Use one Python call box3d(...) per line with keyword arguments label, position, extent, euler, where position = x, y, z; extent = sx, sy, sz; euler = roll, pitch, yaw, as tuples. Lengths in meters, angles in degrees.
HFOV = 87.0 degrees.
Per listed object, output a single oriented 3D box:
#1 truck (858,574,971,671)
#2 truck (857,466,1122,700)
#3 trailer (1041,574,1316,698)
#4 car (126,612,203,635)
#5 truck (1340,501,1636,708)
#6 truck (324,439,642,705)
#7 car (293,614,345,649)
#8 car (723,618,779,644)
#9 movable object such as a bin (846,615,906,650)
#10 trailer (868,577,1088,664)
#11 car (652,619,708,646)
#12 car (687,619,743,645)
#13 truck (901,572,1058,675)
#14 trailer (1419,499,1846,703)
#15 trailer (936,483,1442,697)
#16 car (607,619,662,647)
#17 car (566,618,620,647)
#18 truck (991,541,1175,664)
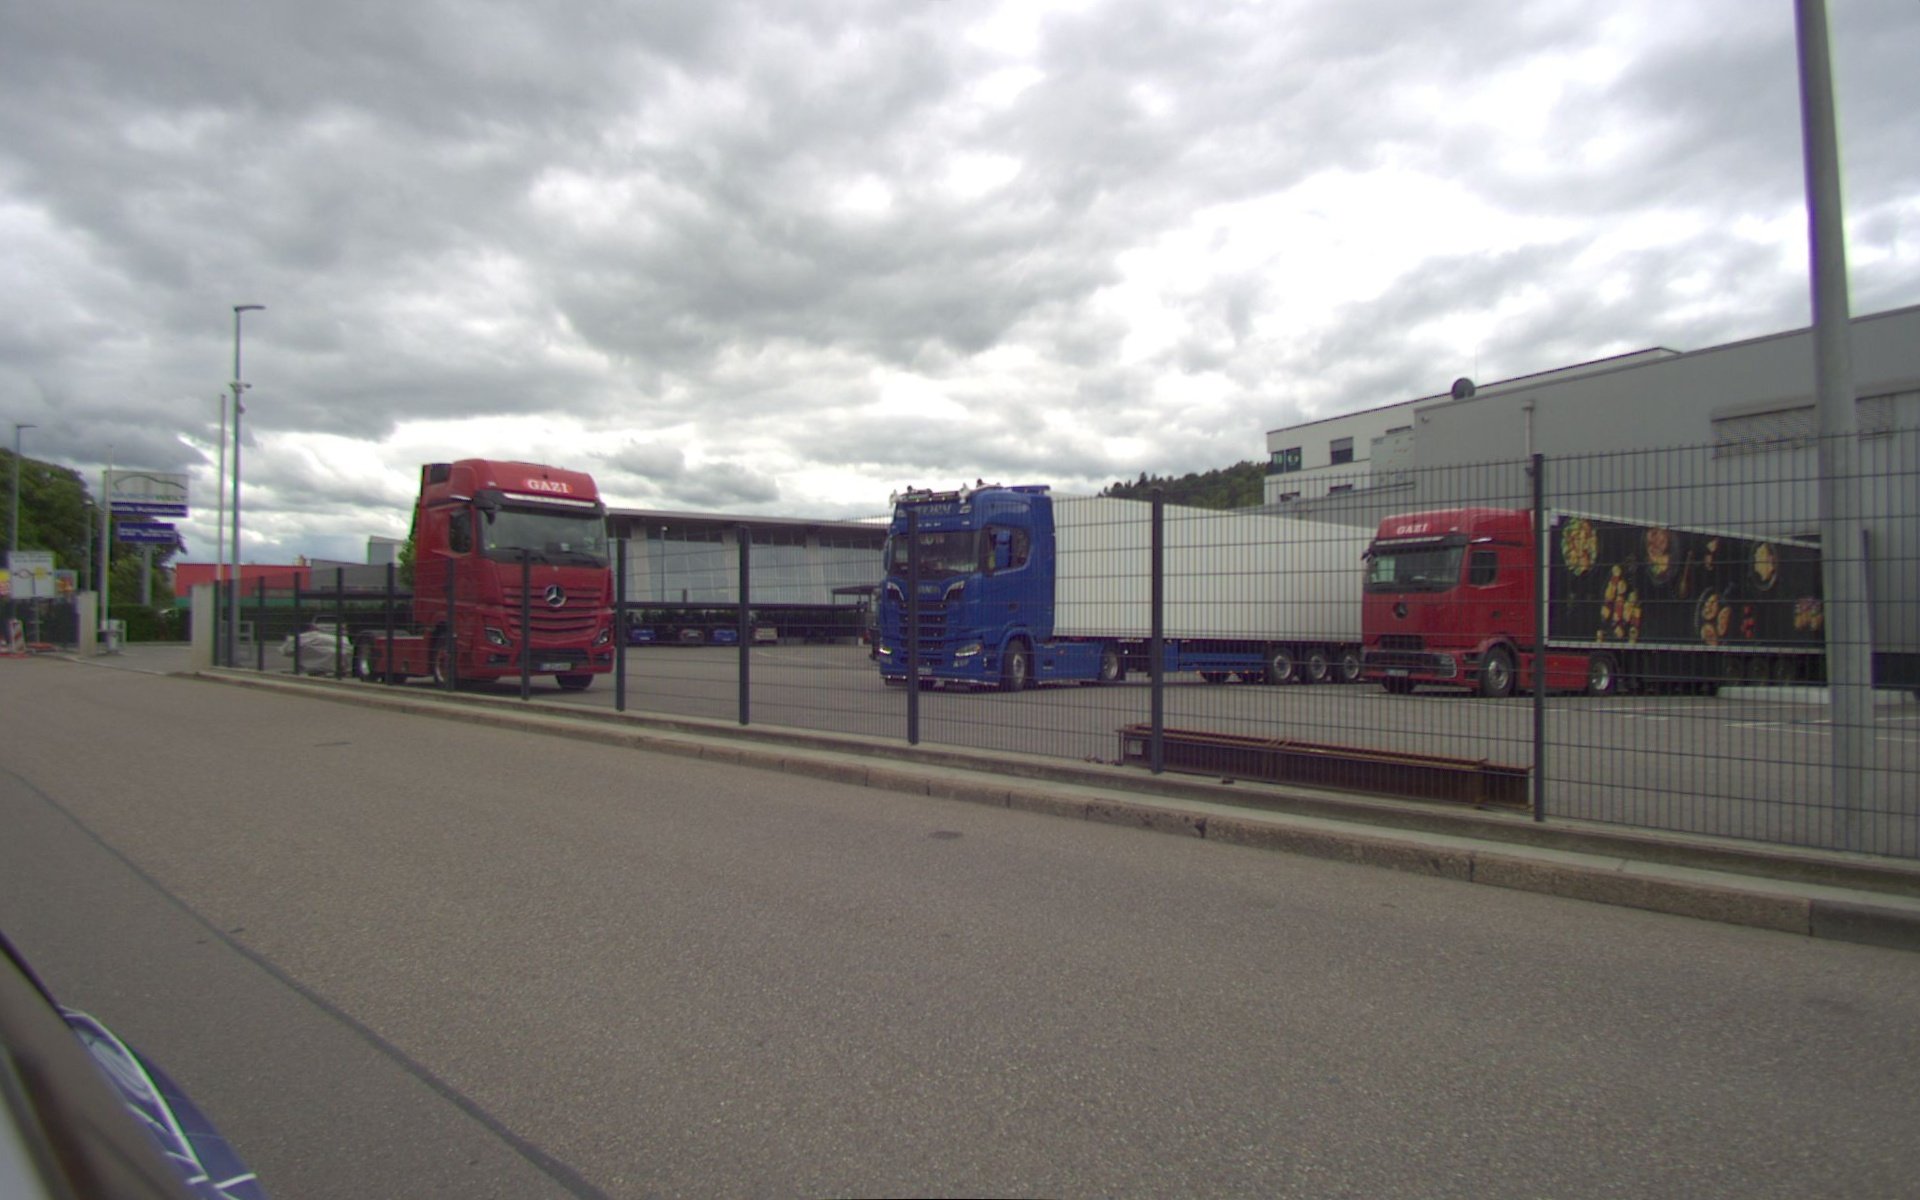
box3d(label="truck", position=(-2.016, 0.997, 44.423), extent=(4.093, 4.071, 2.811), euler=(1, -1, -29))
box3d(label="truck", position=(0.800, -0.233, 20.674), extent=(2.924, 4.051, 5.550), euler=(-1, -2, 34))
box3d(label="trailer", position=(8.273, 1.311, 37.415), extent=(10.807, 4.109, 2.801), euler=(1, -1, -29))
box3d(label="car", position=(-54.969, 1.620, 69.999), extent=(2.001, 1.547, 3.942), euler=(-1, -2, 44))
box3d(label="truck", position=(11.447, 0.150, 21.934), extent=(5.823, 3.958, 2.811), euler=(1, -2, -28))
box3d(label="truck", position=(-9.075, -0.368, 18.845), extent=(6.940, 4.051, 2.890), euler=(-1, -2, 42))
box3d(label="car", position=(-32.517, 1.566, 51.277), extent=(2.039, 1.682, 4.258), euler=(1, -2, -35))
box3d(label="car", position=(-13.232, 1.926, 63.790), extent=(1.935, 1.571, 4.258), euler=(1, -2, -35))
box3d(label="movable object such as a bin", position=(-5.720, 2.169, 68.307), extent=(2.046, 2.243, 4.612), euler=(1, -2, -35))
box3d(label="trailer", position=(1.077, 1.092, 51.978), extent=(11.213, 4.109, 3.101), euler=(1, -1, -29))
box3d(label="car", position=(-16.735, 1.916, 60.356), extent=(1.935, 1.571, 4.258), euler=(1, -2, -35))
box3d(label="car", position=(-15.152, 1.946, 62.460), extent=(1.935, 1.571, 4.258), euler=(1, -2, -35))
box3d(label="truck", position=(0.809, 0.966, 41.642), extent=(5.823, 3.958, 2.811), euler=(1, -1, -29))
box3d(label="trailer", position=(16.796, 0.145, 24.737), extent=(12.866, 4.139, 2.793), euler=(1, -2, -28))
box3d(label="trailer", position=(6.145, -0.083, 24.723), extent=(13.779, 4.215, 3.045), euler=(1, -1, -31))
box3d(label="car", position=(-19.365, 1.938, 60.072), extent=(1.935, 1.571, 4.258), euler=(1, -2, -35))
box3d(label="car", position=(-21.435, 1.863, 59.065), extent=(1.935, 1.660, 4.258), euler=(1, -2, -35))
box3d(label="truck", position=(4.300, 0.157, 35.196), extent=(5.823, 3.958, 2.811), euler=(1, -1, -29))
